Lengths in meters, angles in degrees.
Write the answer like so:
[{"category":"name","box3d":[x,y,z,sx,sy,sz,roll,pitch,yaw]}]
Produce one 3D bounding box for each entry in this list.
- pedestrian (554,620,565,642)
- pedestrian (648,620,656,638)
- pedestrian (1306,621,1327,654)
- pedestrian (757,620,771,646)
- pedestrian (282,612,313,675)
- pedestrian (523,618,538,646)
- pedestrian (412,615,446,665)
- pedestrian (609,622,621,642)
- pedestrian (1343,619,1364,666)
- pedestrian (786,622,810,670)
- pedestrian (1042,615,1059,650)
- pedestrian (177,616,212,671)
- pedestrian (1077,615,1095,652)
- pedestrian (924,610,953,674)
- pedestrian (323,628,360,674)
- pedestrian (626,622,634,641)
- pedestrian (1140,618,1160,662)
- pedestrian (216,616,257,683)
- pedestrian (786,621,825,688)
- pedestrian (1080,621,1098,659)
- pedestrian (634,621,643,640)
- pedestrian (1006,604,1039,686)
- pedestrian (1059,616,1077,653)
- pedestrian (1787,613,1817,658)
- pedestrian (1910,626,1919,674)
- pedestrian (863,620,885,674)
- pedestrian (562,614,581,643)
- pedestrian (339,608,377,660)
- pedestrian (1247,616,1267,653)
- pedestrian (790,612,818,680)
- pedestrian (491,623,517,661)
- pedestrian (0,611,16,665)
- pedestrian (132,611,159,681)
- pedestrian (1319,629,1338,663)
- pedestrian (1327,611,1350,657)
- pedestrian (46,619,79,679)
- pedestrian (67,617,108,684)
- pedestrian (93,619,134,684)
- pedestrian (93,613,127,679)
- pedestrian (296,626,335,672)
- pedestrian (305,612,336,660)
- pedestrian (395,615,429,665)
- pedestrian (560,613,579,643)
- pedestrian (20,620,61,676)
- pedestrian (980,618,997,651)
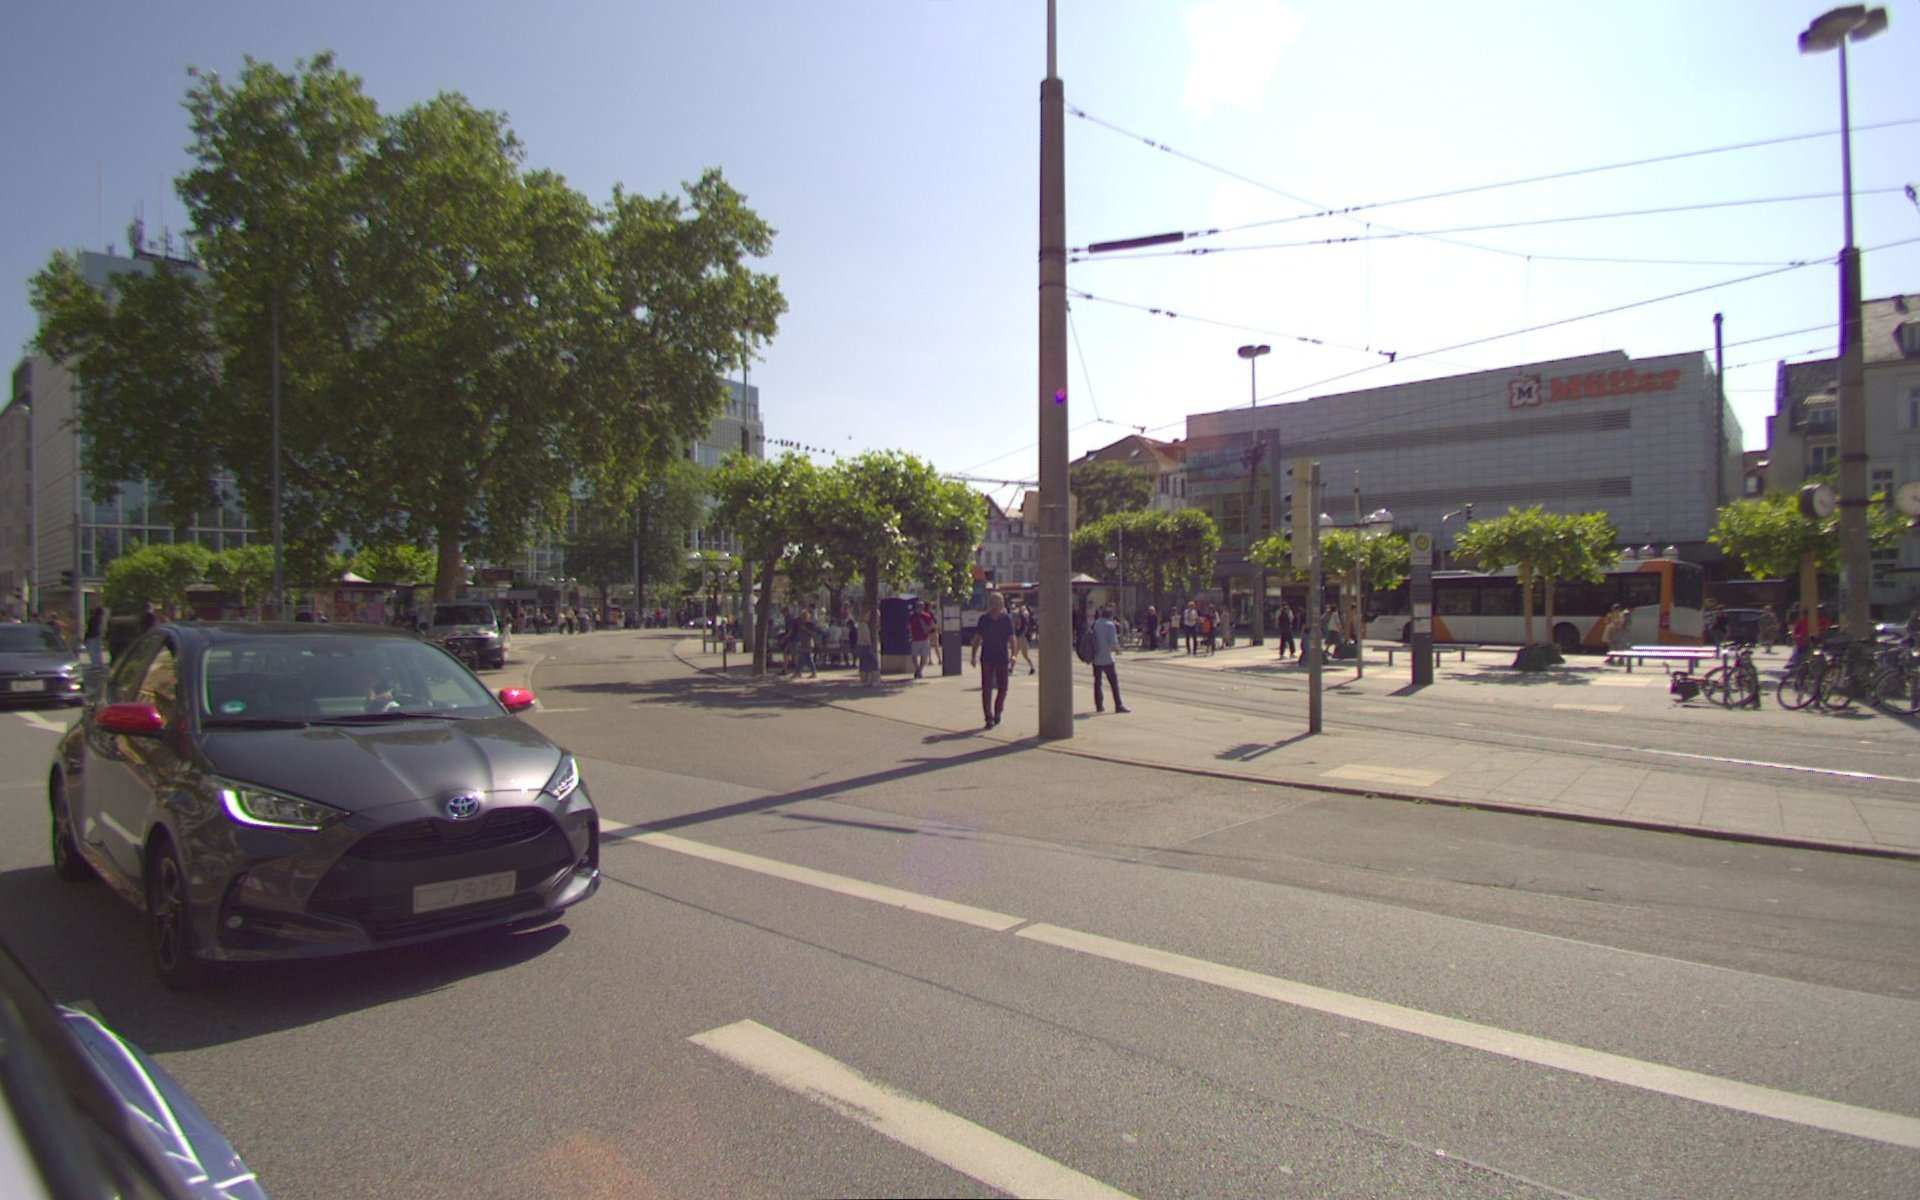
[{"category":"pedestrian","box3d":[-26.644,2.062,67.341,0.410,1.483,0.459,-2,0,39]},{"category":"pedestrian","box3d":[-25.899,2.428,85.099,0.546,1.483,0.760,-2,0,-13]},{"category":"pedestrian","box3d":[17.159,1.809,48.702,0.840,1.561,0.677,-1,-4,14]},{"category":"pedestrian","box3d":[-11.198,1.893,57.785,0.547,1.483,0.533,-2,0,-42]},{"category":"pedestrian","box3d":[-18.659,1.222,28.513,0.516,1.755,0.511,-2,0,28]},{"category":"pedestrian","box3d":[-27.947,2.101,65.855,0.740,1.760,0.784,-2,0,-11]},{"category":"pedestrian","box3d":[-18.974,1.420,36.180,0.780,1.760,0.744,-2,0,31]},{"category":"pedestrian","box3d":[-26.346,2.415,77.328,0.757,1.483,0.548,-2,0,40]},{"category":"pedestrian","box3d":[12.568,1.368,32.317,0.585,1.477,0.522,-1,-4,21]},{"category":"pedestrian","box3d":[-5.038,1.447,31.472,0.580,1.477,0.557,2,-4,-28]},{"category":"pedestrian","box3d":[4.126,1.490,46.132,0.675,1.561,0.575,-1,-4,17]},{"category":"pedestrian","box3d":[-25.430,1.438,33.630,0.666,1.760,0.742,-2,0,39]},{"category":"pedestrian","box3d":[5.436,1.463,43.632,0.675,1.561,0.575,-1,-4,17]},{"category":"pedestrian","box3d":[-0.615,1.236,29.375,0.605,1.830,0.570,-3,-5,40]},{"category":"pedestrian","box3d":[-19.905,1.624,32.574,0.671,1.435,0.744,-2,0,31]},{"category":"pedestrian","box3d":[-26.800,2.557,82.189,0.546,1.483,0.760,-2,0,-13]},{"category":"pedestrian","box3d":[7.113,1.507,37.908,0.675,1.610,0.621,-1,-4,19]},{"category":"pedestrian","box3d":[-18.927,1.279,26.478,0.640,1.704,0.637,-2,0,28]},{"category":"pedestrian","box3d":[-3.641,1.292,23.838,0.680,1.536,0.616,-3,-5,41]},{"category":"pedestrian","box3d":[5.411,1.686,42.382,0.675,1.561,0.575,-1,-4,17]},{"category":"pedestrian","box3d":[-25.960,2.486,81.706,0.546,1.483,0.760,-2,0,-13]},{"category":"pedestrian","box3d":[1.565,1.109,25.407,0.563,2.023,0.686,-1,-1,32]},{"category":"pedestrian","box3d":[4.618,1.491,43.344,0.675,1.561,0.575,-1,-4,17]},{"category":"pedestrian","box3d":[28.108,1.194,33.806,0.558,1.477,0.582,-1,-4,22]},{"category":"pedestrian","box3d":[29.945,1.554,31.248,0.741,1.477,0.780,-2,-4,36]},{"category":"pedestrian","box3d":[-2.899,1.581,34.107,0.485,1.791,0.519,-3,-5,40]},{"category":"pedestrian","box3d":[-24.534,1.795,63.920,0.780,1.760,0.744,-2,0,31]},{"category":"pedestrian","box3d":[-19.142,1.079,32.185,0.780,1.608,0.744,-2,0,31]},{"category":"pedestrian","box3d":[12.065,1.412,41.168,0.672,1.477,0.623,0,-4,7]},{"category":"pedestrian","box3d":[-4.209,1.249,27.353,0.671,1.808,0.625,0,-4,-1]},{"category":"pedestrian","box3d":[-21.799,1.996,48.377,0.780,1.760,0.744,-2,0,31]},{"category":"pedestrian","box3d":[-34.504,1.364,36.437,0.732,1.928,0.631,-2,0,39]},{"category":"pedestrian","box3d":[-22.278,1.248,27.670,0.510,1.849,0.716,-2,0,-41]},{"category":"pedestrian","box3d":[16.286,2.053,44.734,0.672,1.477,0.623,0,-4,7]},{"category":"pedestrian","box3d":[12.435,1.117,33.236,0.621,1.477,0.674,-1,-4,25]},{"category":"pedestrian","box3d":[-26.766,1.454,30.179,0.752,1.760,0.605,-2,-1,39]},{"category":"pedestrian","box3d":[-24.086,1.389,27.940,0.529,1.796,0.745,-2,0,-14]},{"category":"pedestrian","box3d":[-22.488,1.349,26.899,0.620,1.661,0.754,-2,0,-23]},{"category":"pedestrian","box3d":[-24.478,1.309,29.131,0.738,1.860,0.587,-2,-3,39]},{"category":"pedestrian","box3d":[-20.867,1.575,32.772,0.780,1.418,0.744,-2,0,31]},{"category":"pedestrian","box3d":[-24.414,1.362,38.619,0.782,1.760,0.742,-2,0,39]},{"category":"pedestrian","box3d":[-19.868,1.460,36.718,0.780,1.760,0.744,-2,0,31]},{"category":"pedestrian","box3d":[-24.065,1.727,62.408,0.780,1.760,0.744,-2,0,31]},{"category":"pedestrian","box3d":[-30.099,1.549,33.130,0.732,1.760,0.865,-2,0,39]},{"category":"pedestrian","box3d":[1.388,1.685,49.535,0.568,1.561,0.682,2,-4,-22]}]
